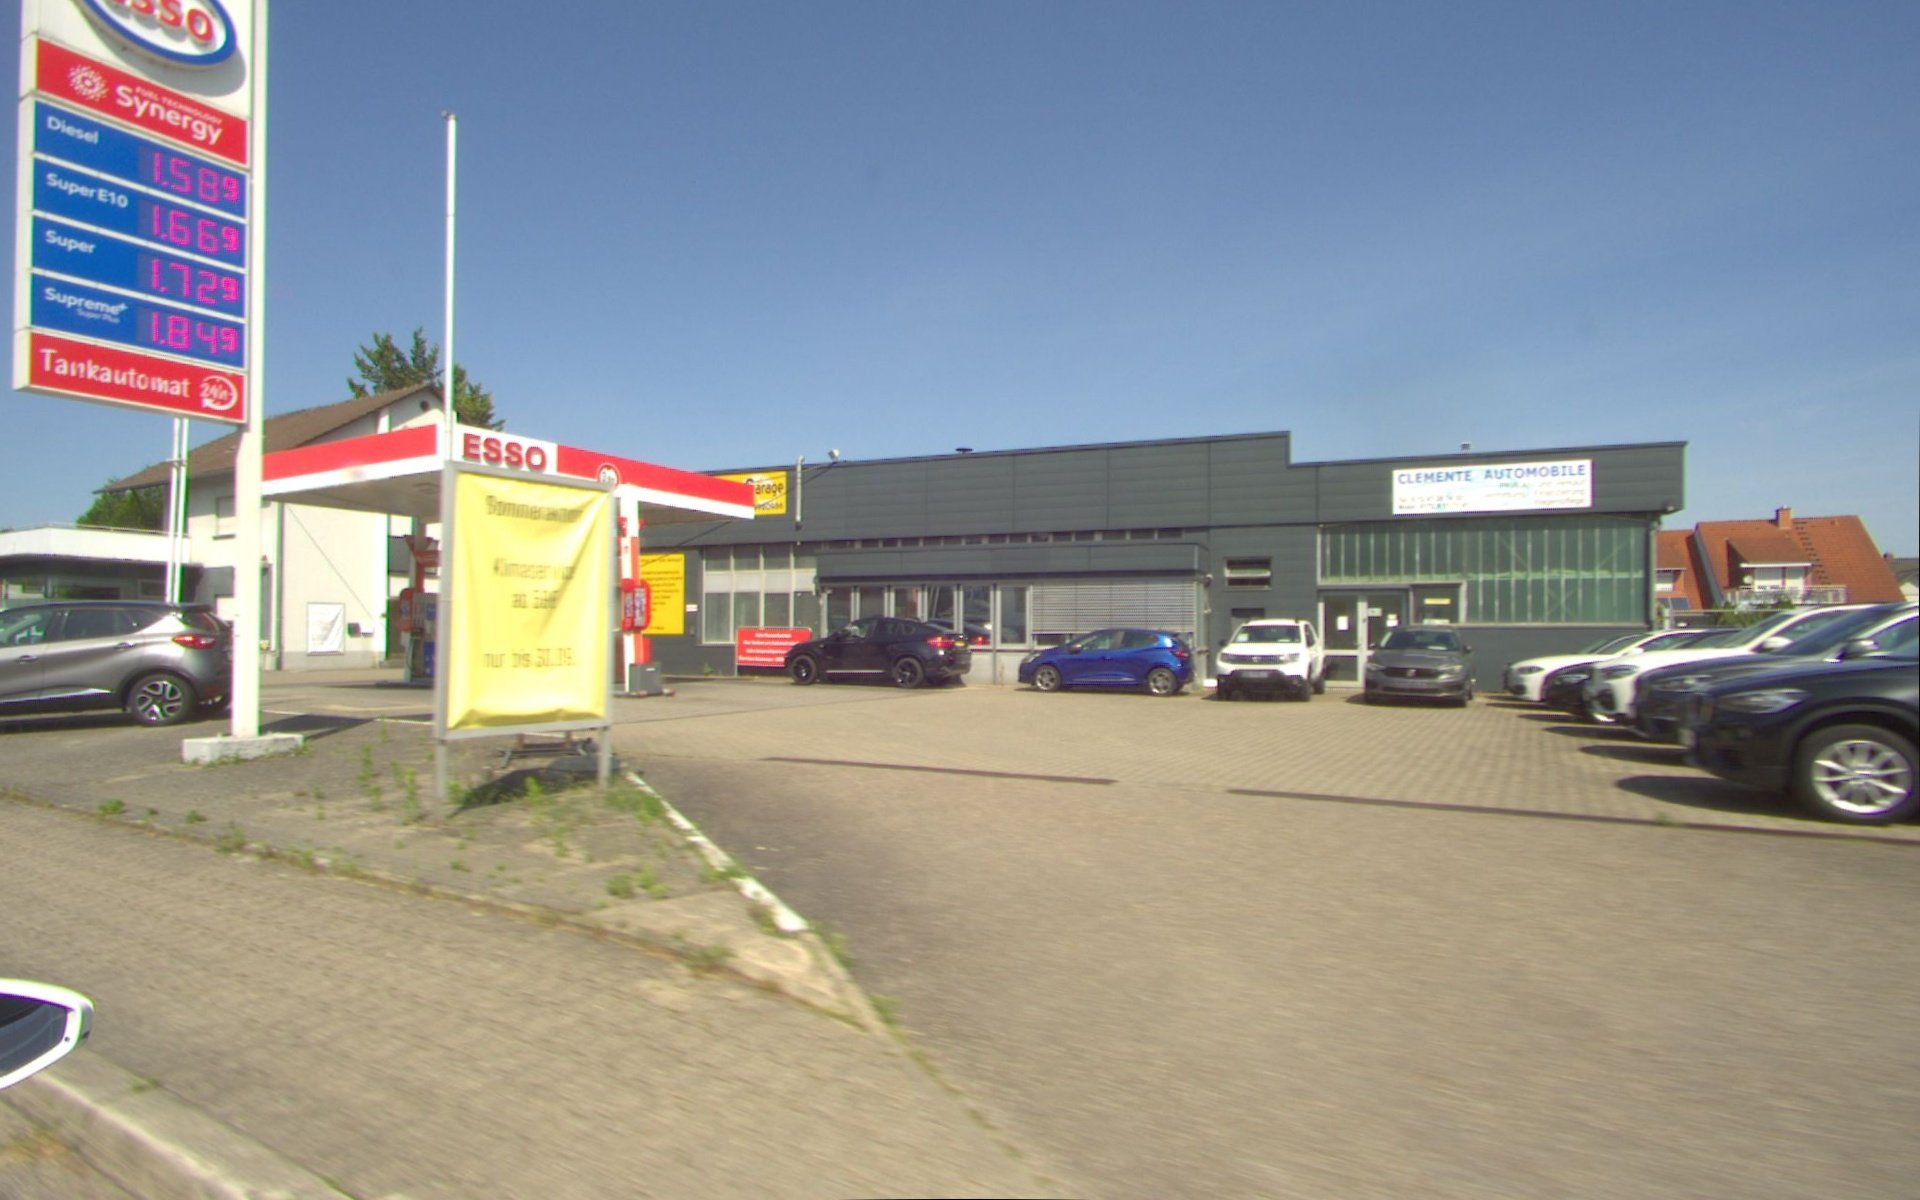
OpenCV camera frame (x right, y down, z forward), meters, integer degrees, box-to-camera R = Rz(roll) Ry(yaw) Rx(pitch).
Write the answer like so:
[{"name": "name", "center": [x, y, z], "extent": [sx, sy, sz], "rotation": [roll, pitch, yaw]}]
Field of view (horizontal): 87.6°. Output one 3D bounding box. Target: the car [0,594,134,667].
[{"name": "car", "center": [-27.596, 0.874, 29.332], "extent": [2.188, 2.040, 5.287], "rotation": [0, -1, 4]}]

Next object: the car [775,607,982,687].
[{"name": "car", "center": [-2.013, 1.117, 24.624], "extent": [4.734, 1.763, 1.807], "rotation": [1, -1, 21]}]

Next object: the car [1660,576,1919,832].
[{"name": "car", "center": [7.348, 0.659, 6.791], "extent": [3.934, 1.612, 1.970], "rotation": [-1, -1, 25]}]

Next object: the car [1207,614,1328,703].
[{"name": "car", "center": [6.483, 1.140, 20.818], "extent": [1.783, 1.655, 4.140], "rotation": [-1, -1, 26]}]

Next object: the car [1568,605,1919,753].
[{"name": "car", "center": [10.046, 0.898, 12.195], "extent": [4.267, 1.612, 1.999], "rotation": [-1, -1, 25]}]

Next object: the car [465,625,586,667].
[{"name": "car", "center": [-16.489, 1.707, 38.225], "extent": [1.783, 1.498, 4.061], "rotation": [-1, -2, 26]}]

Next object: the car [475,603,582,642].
[{"name": "car", "center": [-18.943, 1.018, 44.044], "extent": [4.025, 1.497, 1.800], "rotation": [3, -4, -35]}]

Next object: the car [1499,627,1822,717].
[{"name": "car", "center": [11.917, 1.182, 17.436], "extent": [4.304, 1.404, 1.842], "rotation": [-1, -1, 25]}]

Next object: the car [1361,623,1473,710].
[{"name": "car", "center": [8.836, 1.200, 19.282], "extent": [1.783, 1.493, 3.678], "rotation": [-1, -1, 26]}]

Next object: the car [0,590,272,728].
[{"name": "car", "center": [-11.393, 0.729, 12.652], "extent": [4.113, 1.575, 1.769], "rotation": [-1, 0, -23]}]

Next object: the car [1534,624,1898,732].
[{"name": "car", "center": [10.817, 1.074, 14.732], "extent": [3.934, 1.404, 1.842], "rotation": [-1, -1, 25]}]

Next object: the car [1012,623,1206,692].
[{"name": "car", "center": [3.372, 1.263, 22.651], "extent": [4.056, 1.450, 1.794], "rotation": [-1, -1, 22]}]

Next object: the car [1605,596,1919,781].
[{"name": "car", "center": [8.723, 0.794, 9.573], "extent": [4.038, 1.612, 1.842], "rotation": [-1, -1, 25]}]
